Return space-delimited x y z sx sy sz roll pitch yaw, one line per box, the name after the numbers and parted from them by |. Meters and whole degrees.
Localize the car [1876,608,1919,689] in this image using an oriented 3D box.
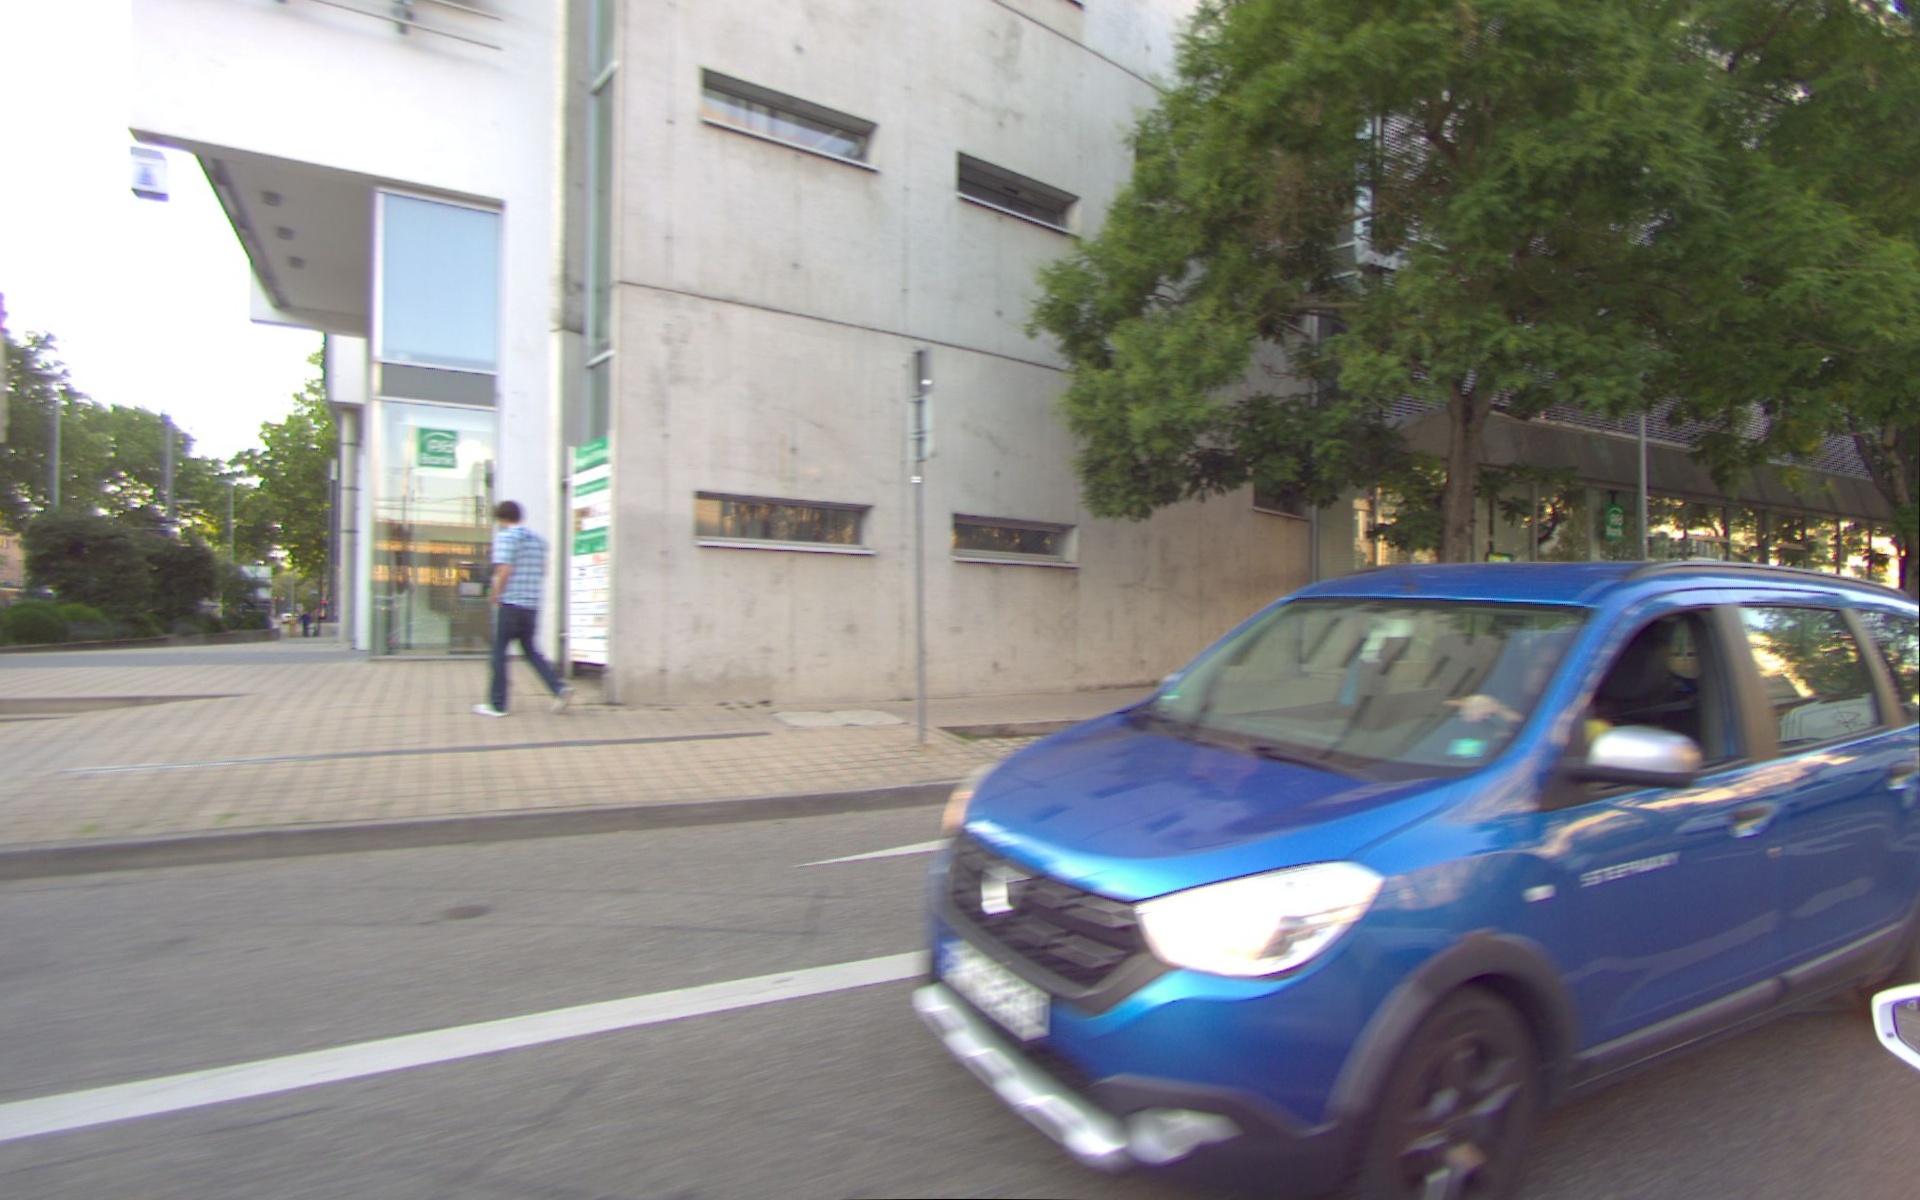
19.987 0.955 19.600 4.570 1.481 1.696 1 2 -29 | car

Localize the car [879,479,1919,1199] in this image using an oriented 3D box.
1.993 0.661 3.653 4.220 1.700 1.741 1 0 -28 | car

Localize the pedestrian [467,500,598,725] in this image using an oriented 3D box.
-3.916 0.084 9.194 0.863 1.909 0.698 7 6 33 | pedestrian
